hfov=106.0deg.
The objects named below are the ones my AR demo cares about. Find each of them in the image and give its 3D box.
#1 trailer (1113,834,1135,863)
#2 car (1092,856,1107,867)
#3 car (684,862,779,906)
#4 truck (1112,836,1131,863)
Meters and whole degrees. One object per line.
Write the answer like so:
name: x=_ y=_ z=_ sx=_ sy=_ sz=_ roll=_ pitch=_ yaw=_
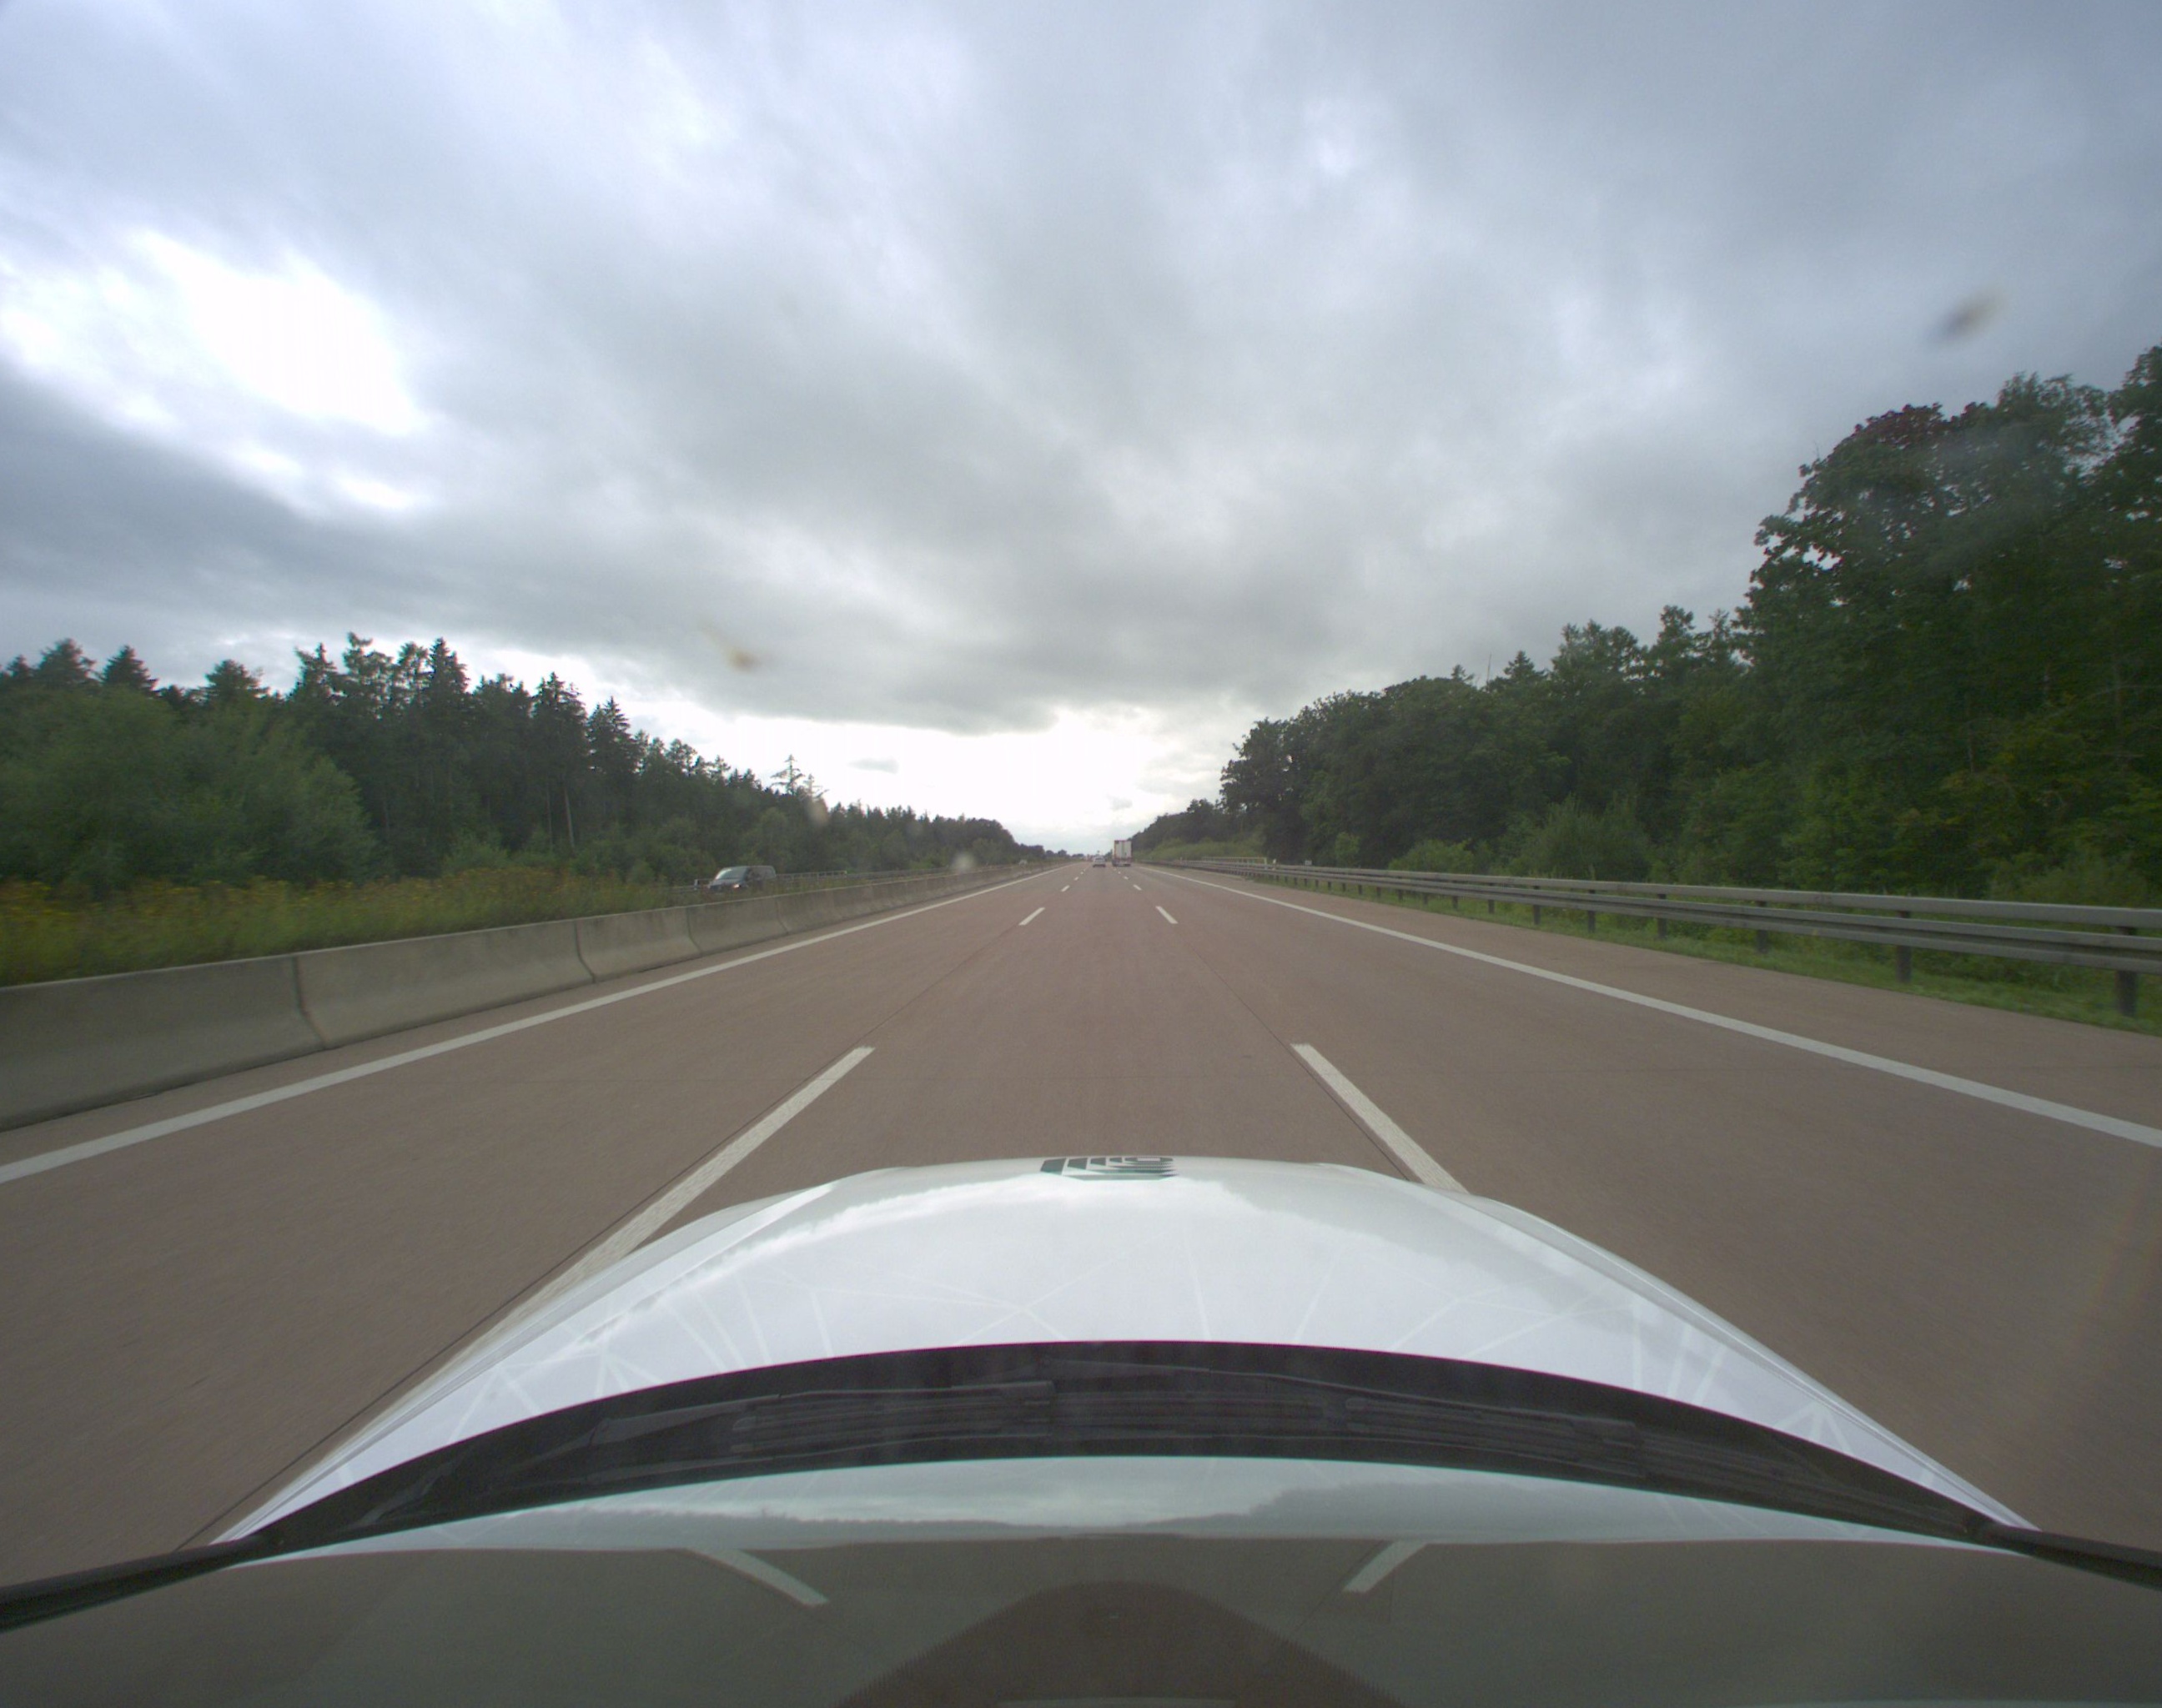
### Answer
trailer: x=6.603 y=-0.732 z=127.441 sx=2.911 sy=4.294 sz=13.615 roll=-1 pitch=-1 yaw=1
car: x=2.705 y=1.067 z=117.347 sx=2.155 sy=1.451 sz=4.721 roll=0 pitch=0 yaw=2
car: x=-17.669 y=1.455 z=41.521 sx=2.245 sy=2.013 sz=5.273 roll=1 pitch=0 yaw=3
truck: x=6.735 y=-0.683 z=135.120 sx=2.911 sy=4.294 sz=5.335 roll=-1 pitch=-1 yaw=1
